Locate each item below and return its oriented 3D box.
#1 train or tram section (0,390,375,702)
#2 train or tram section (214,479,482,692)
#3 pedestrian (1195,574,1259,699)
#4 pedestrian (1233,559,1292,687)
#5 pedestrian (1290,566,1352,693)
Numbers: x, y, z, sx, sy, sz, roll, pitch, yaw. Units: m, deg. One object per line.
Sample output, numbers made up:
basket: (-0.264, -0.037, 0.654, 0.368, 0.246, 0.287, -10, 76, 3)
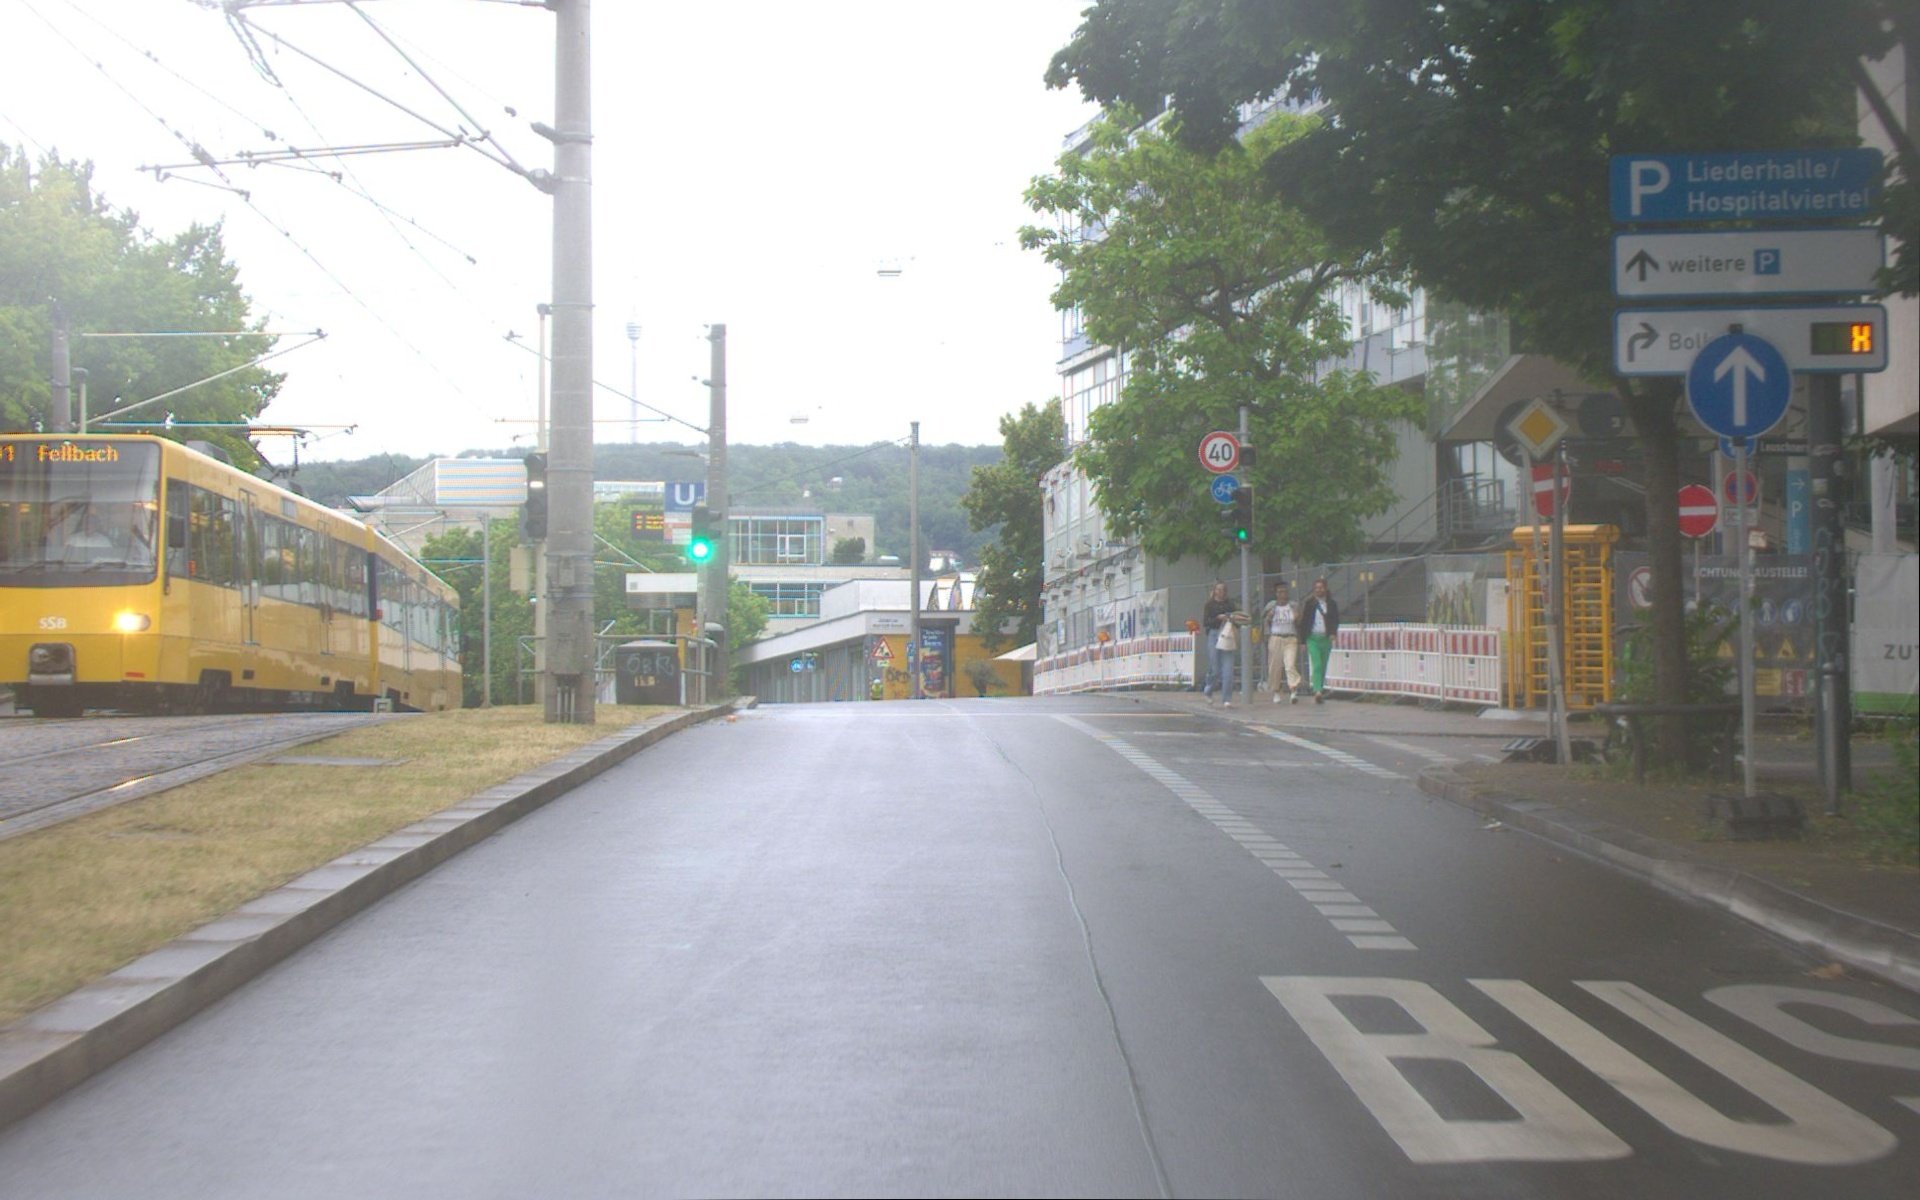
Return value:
train or tram section: (-11.173, -0.450, 50.236, 2.746, 3.684, 18.970, 0, -1, -2)
train or tram section: (-11.950, -0.066, 69.192, 2.746, 3.684, 18.970, 0, -1, -2)
pedestrian: (3.718, 0.496, 47.956, 0.736, 1.724, 1.119, 0, 0, -4)
pedestrian: (4.323, 0.327, 49.168, 0.699, 1.809, 0.977, 0, 0, -4)
pedestrian: (5.108, 0.413, 48.673, 0.699, 1.779, 1.067, 0, 0, -4)
